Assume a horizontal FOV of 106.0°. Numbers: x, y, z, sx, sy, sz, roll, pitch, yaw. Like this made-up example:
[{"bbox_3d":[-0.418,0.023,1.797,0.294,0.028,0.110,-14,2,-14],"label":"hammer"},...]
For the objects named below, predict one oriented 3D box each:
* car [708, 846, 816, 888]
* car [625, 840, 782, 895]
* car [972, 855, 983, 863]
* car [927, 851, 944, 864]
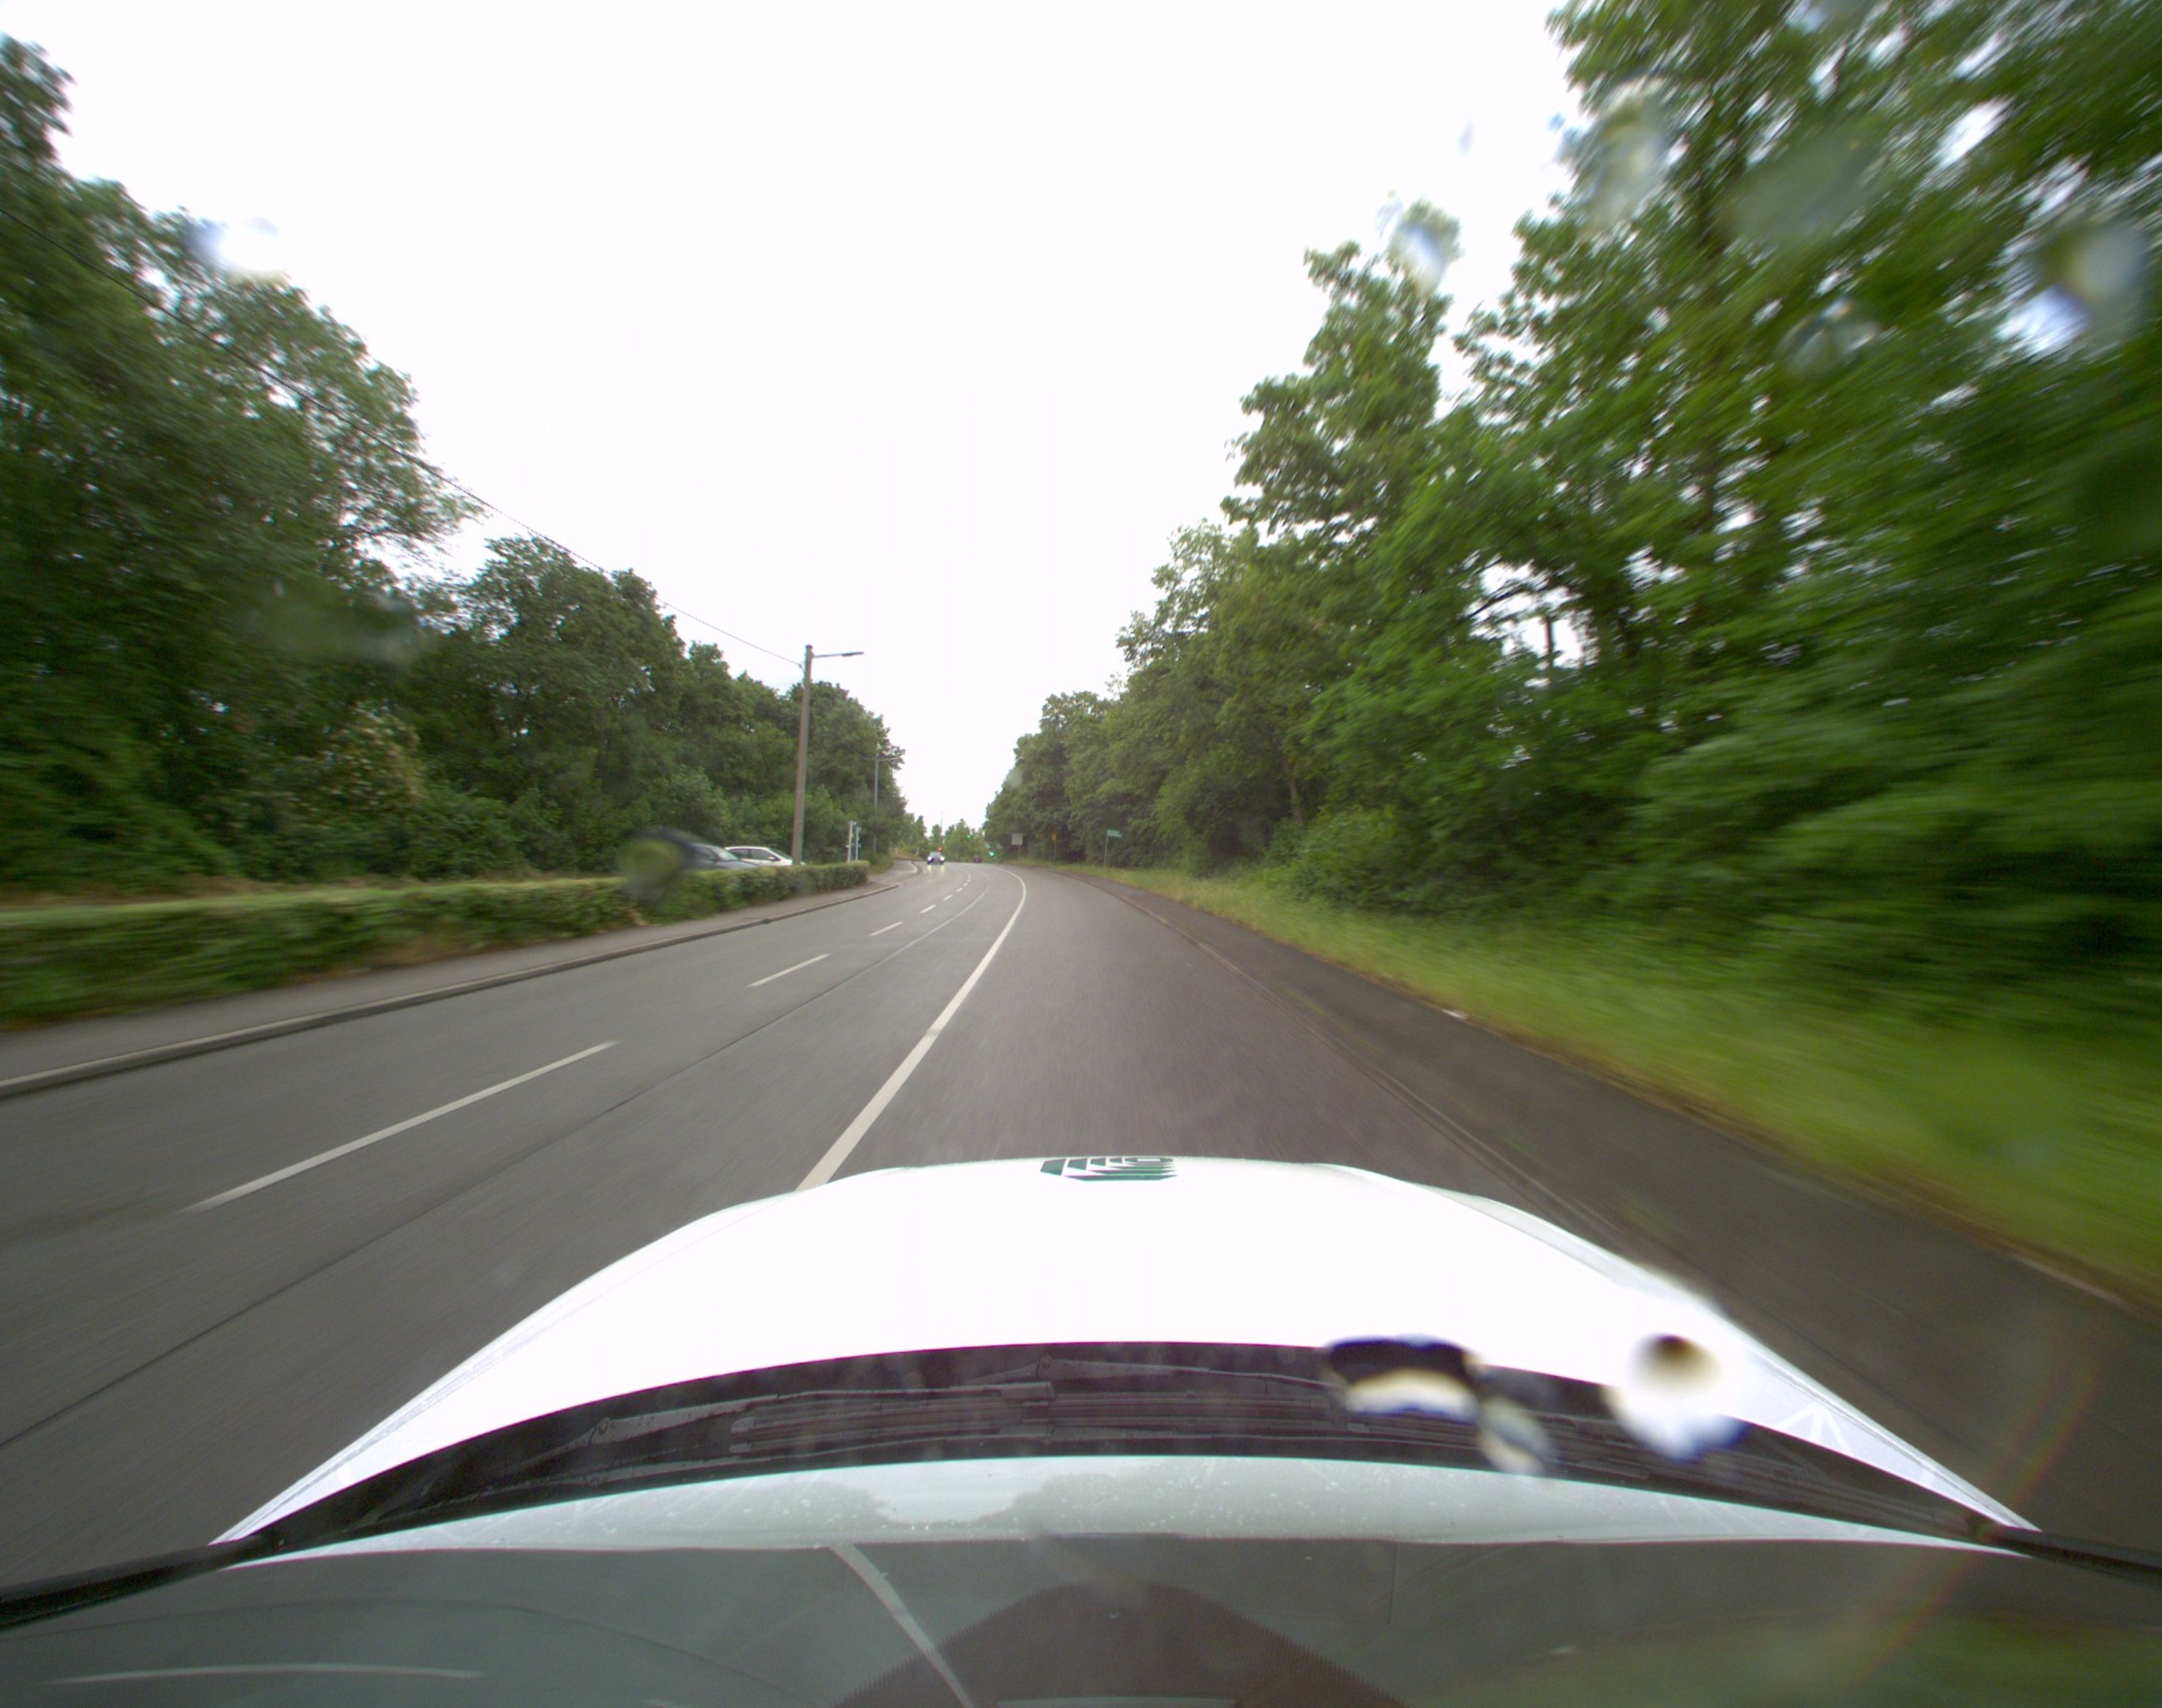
[{"bbox_3d":[-12.810,0.500,32.880,3.640,1.591,1.848,1,0,-7],"label":"car"},{"bbox_3d":[-12.527,0.438,27.236,4.276,1.708,2.000,1,0,0],"label":"car"},{"bbox_3d":[-20.894,1.027,164.393,1.930,1.498,4.314,0,0,-3],"label":"car"},{"bbox_3d":[-17.003,0.430,95.256,1.935,1.498,4.304,0,0,-9],"label":"car"}]
